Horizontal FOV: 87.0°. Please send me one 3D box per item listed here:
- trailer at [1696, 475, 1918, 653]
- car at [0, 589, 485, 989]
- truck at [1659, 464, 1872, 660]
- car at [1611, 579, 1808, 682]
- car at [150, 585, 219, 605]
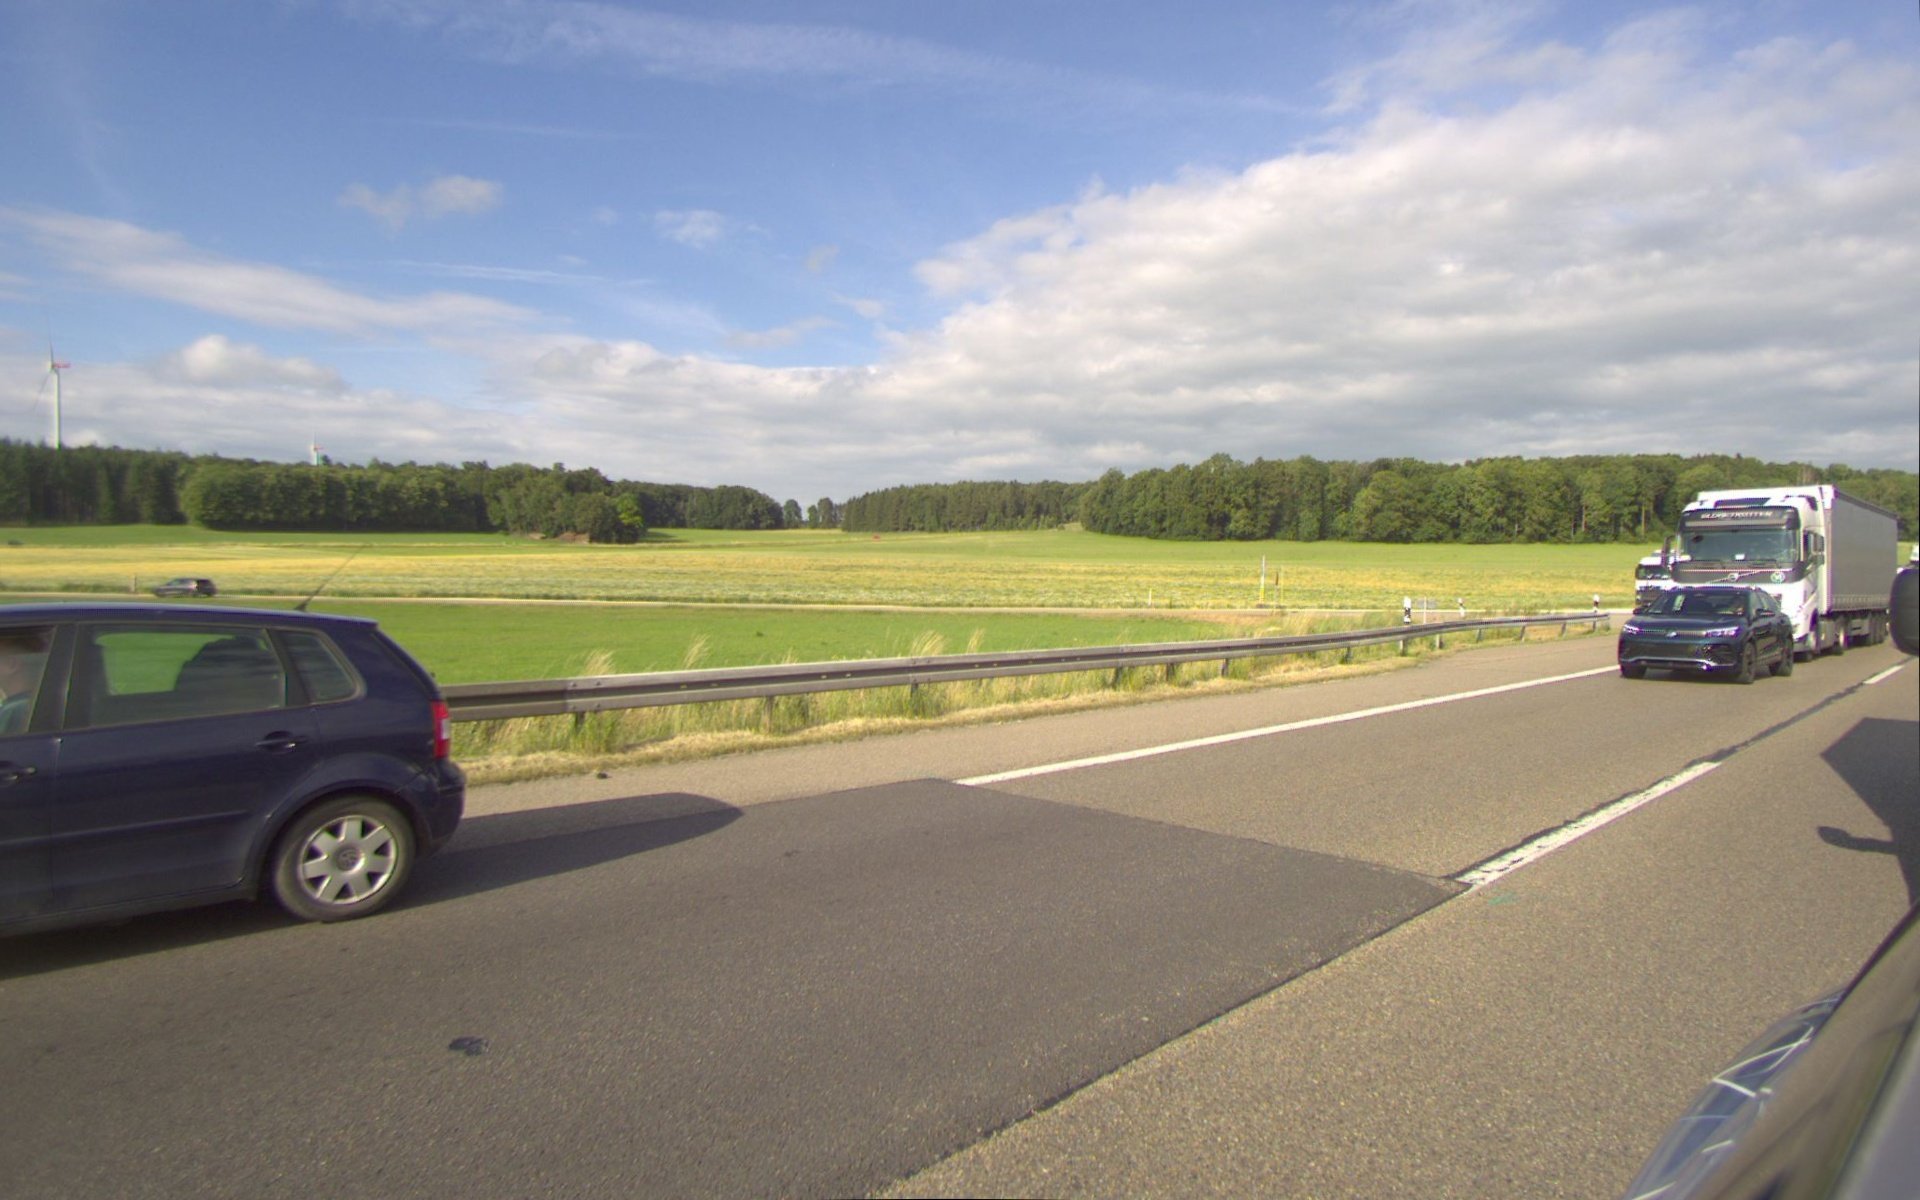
[{"bbox_3d":[23.639,-0.882,27.878,11.916,4.032,2.824,-1,0,-41],"label":"trailer"},{"bbox_3d":[-4.221,0.696,4.253,3.710,1.464,1.712,-1,1,-42],"label":"car"},{"bbox_3d":[19.298,-0.821,24.103,6.387,4.040,2.840,-1,0,-41],"label":"truck"},{"bbox_3d":[13.399,0.446,18.013,4.047,1.616,1.997,-1,1,-41],"label":"car"},{"bbox_3d":[-57.692,-0.386,75.284,4.154,1.505,1.832,0,0,12],"label":"car"}]
